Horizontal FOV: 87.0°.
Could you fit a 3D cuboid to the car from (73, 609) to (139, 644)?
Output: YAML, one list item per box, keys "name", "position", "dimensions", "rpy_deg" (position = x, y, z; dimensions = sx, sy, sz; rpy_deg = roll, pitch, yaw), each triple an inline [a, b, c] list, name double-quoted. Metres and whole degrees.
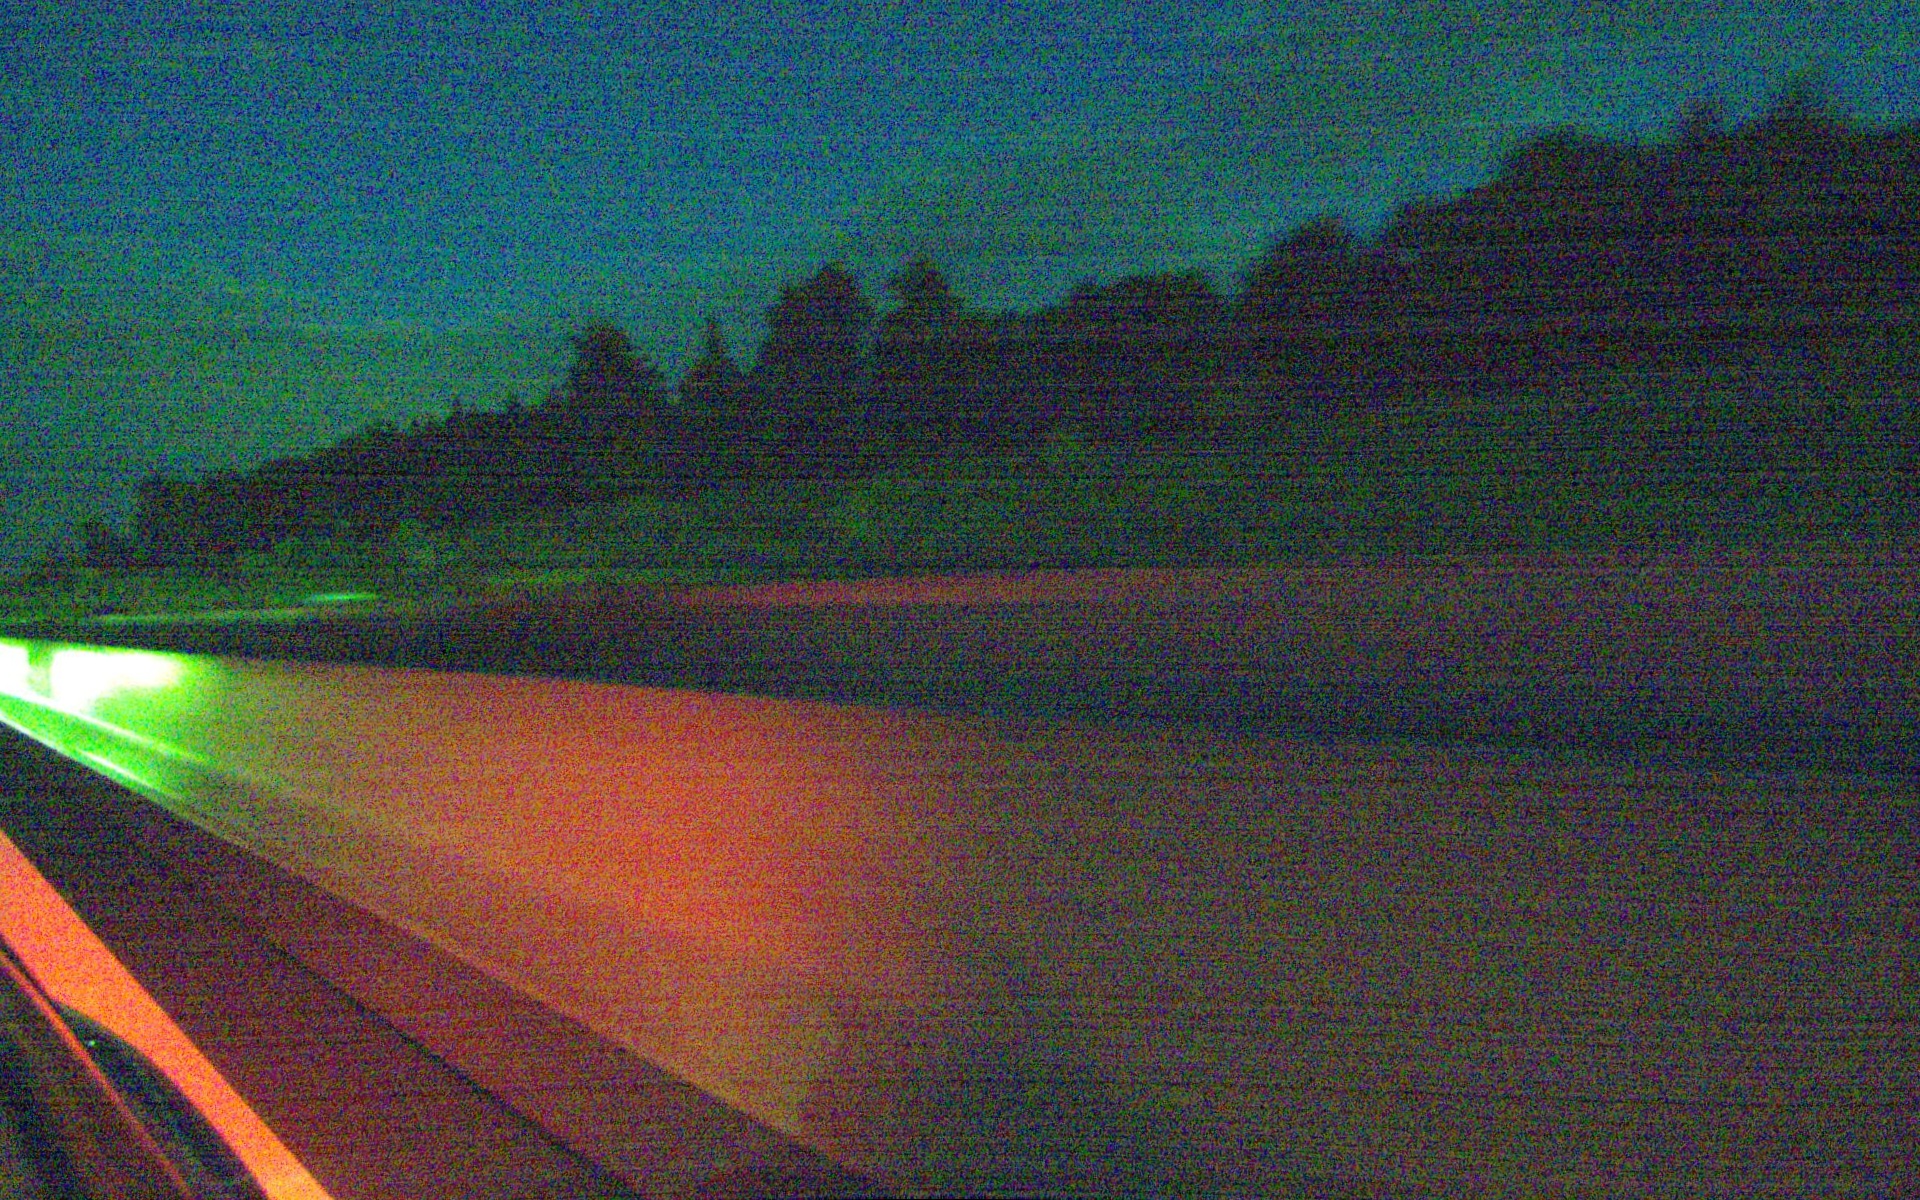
- name: "car"
  position: [-49.544, 1.575, 58.664]
  dimensions: [5.165, 1.789, 1.973]
  rpy_deg: [-2, 2, 40]

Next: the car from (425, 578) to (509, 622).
- name: "car"
  position: [-22.488, 0.032, 46.116]
  dimensions: [3.996, 1.940, 1.974]
  rpy_deg: [-1, -1, 40]

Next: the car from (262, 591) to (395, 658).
- name: "car"
  position: [-19.337, 0.746, 30.925]
  dimensions: [4.744, 1.789, 1.973]
  rpy_deg: [-2, 2, 40]
